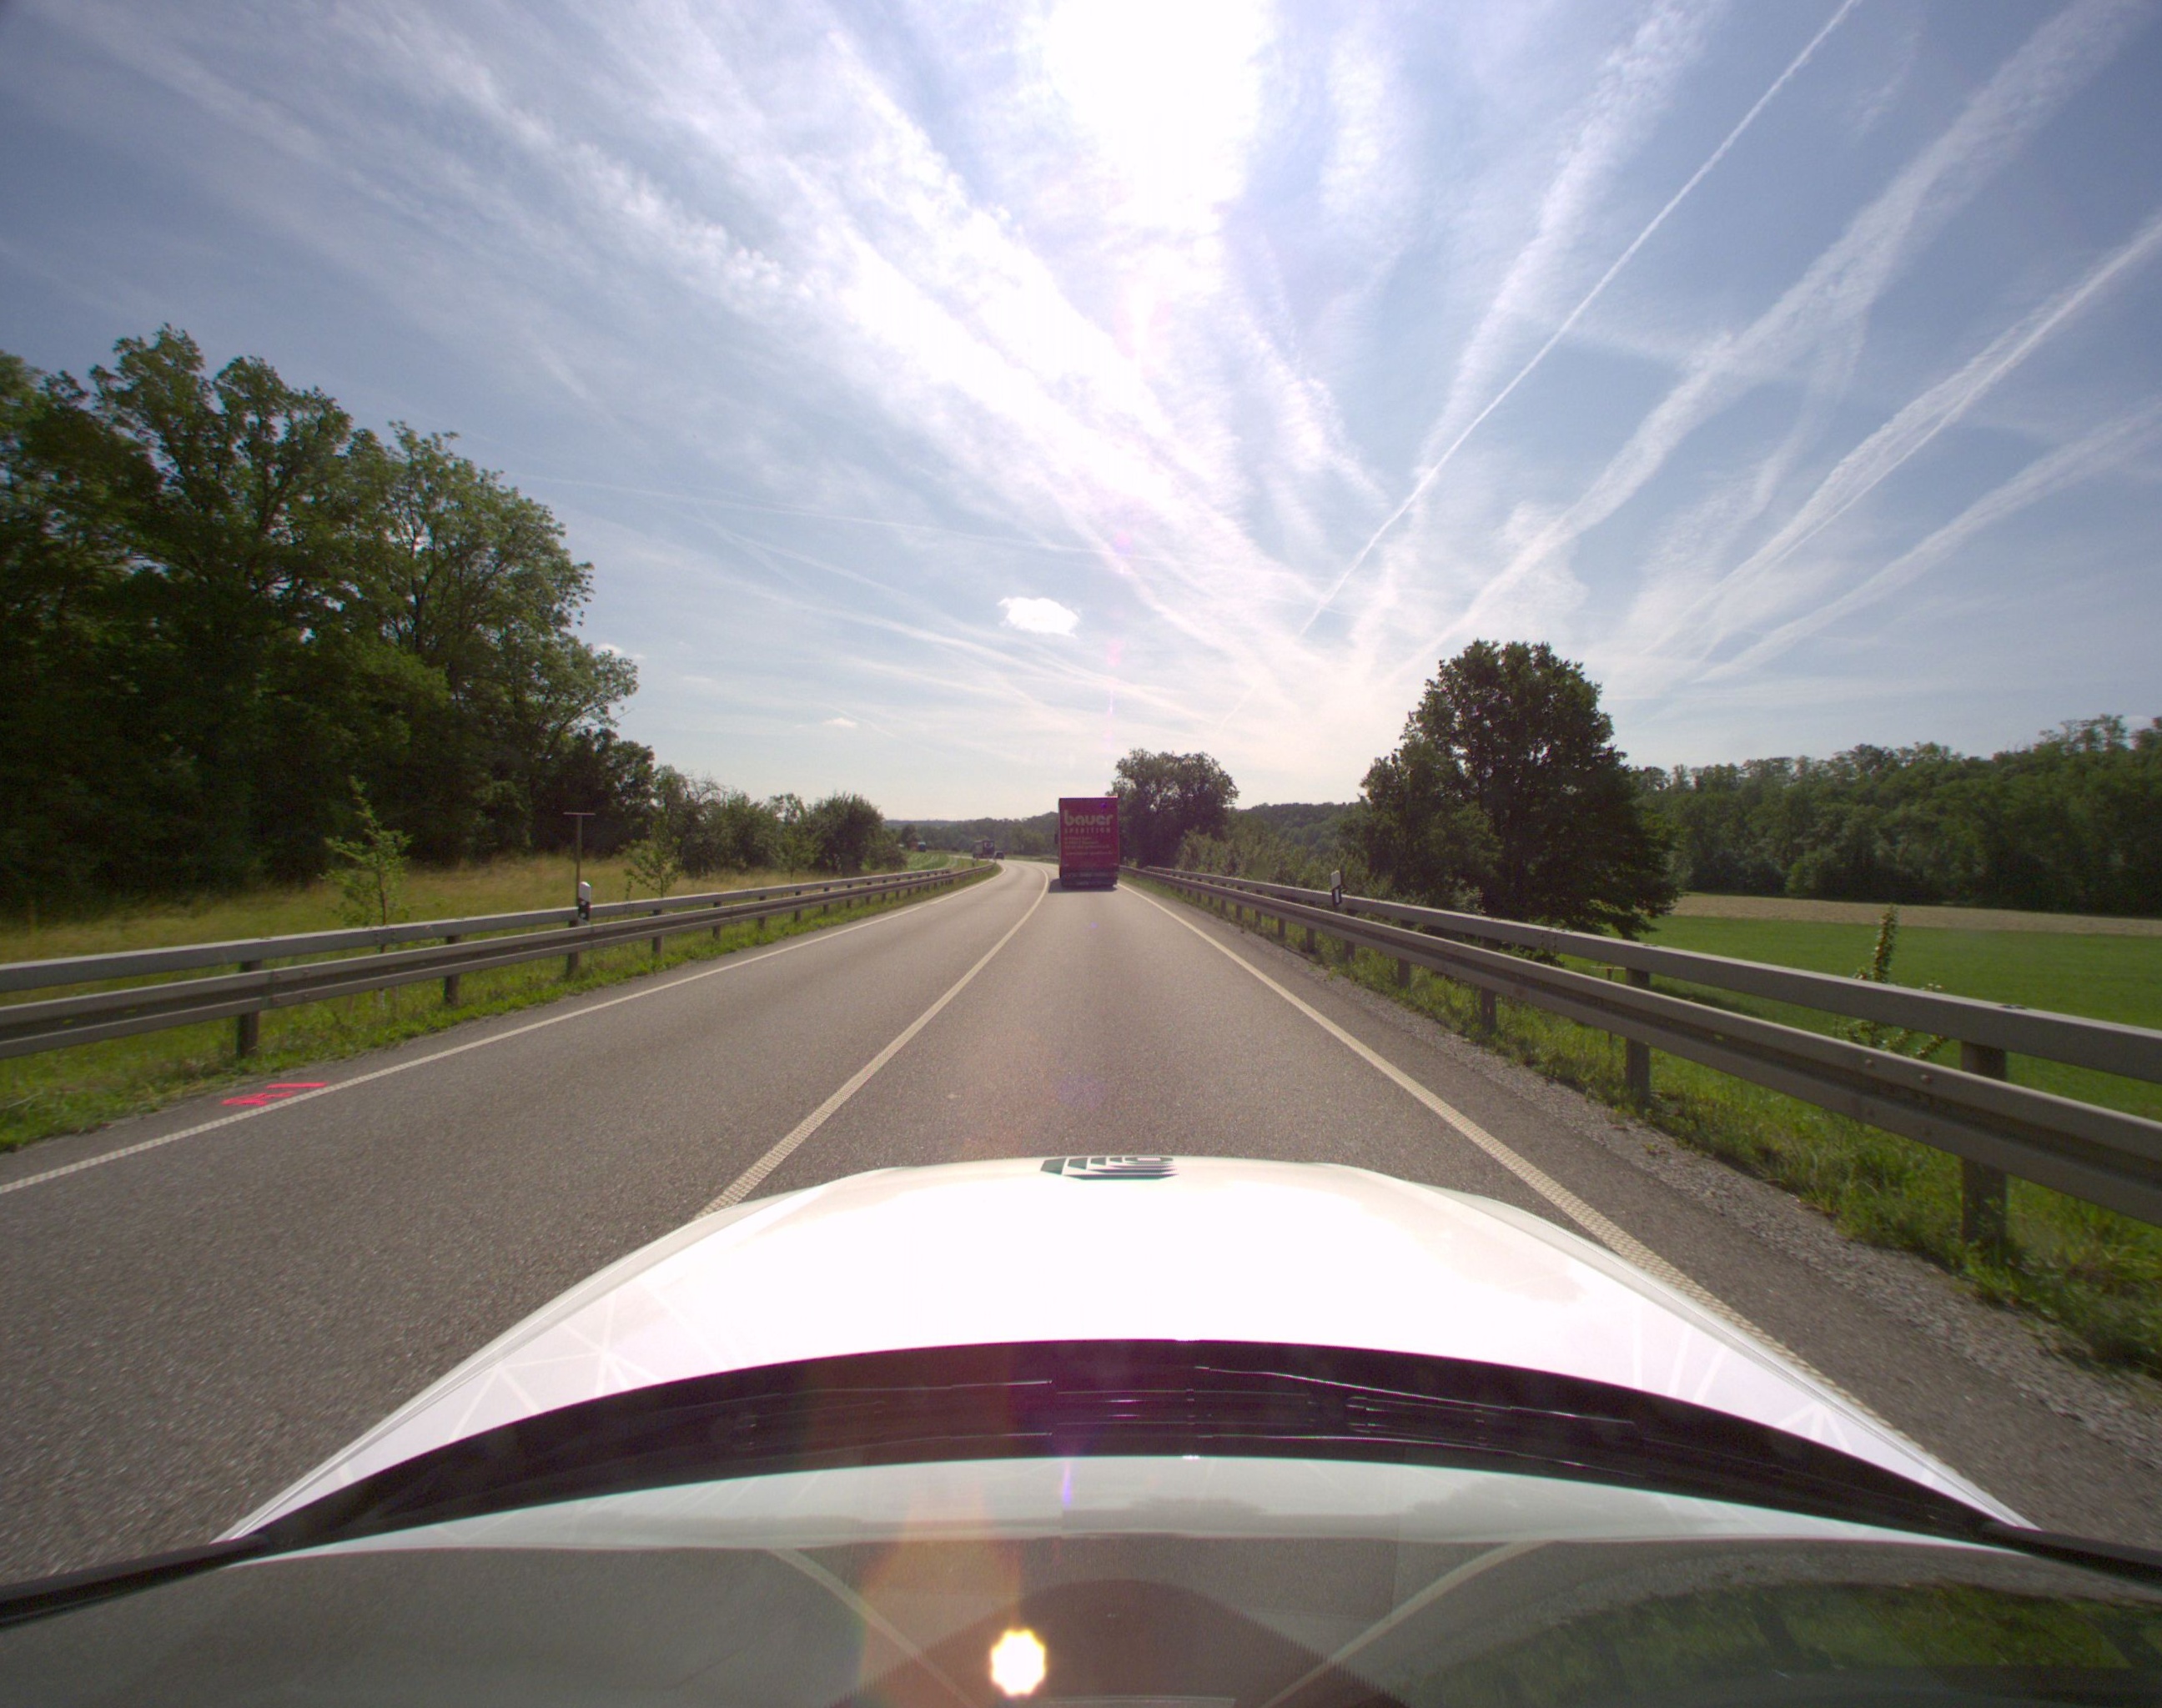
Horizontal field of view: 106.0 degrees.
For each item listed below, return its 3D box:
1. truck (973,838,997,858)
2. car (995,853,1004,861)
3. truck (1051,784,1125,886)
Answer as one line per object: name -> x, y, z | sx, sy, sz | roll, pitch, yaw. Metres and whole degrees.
truck -> -21.908, -1.331, 185.684 | 3.646, 4.292, 11.924 | -1, 0, -15
car -> -16.205, 0.503, 161.812 | 1.579, 1.501, 3.870 | -1, 0, -5
truck -> 0.325, -0.815, 38.804 | 3.084, 4.262, 8.313 | -1, 0, 0
